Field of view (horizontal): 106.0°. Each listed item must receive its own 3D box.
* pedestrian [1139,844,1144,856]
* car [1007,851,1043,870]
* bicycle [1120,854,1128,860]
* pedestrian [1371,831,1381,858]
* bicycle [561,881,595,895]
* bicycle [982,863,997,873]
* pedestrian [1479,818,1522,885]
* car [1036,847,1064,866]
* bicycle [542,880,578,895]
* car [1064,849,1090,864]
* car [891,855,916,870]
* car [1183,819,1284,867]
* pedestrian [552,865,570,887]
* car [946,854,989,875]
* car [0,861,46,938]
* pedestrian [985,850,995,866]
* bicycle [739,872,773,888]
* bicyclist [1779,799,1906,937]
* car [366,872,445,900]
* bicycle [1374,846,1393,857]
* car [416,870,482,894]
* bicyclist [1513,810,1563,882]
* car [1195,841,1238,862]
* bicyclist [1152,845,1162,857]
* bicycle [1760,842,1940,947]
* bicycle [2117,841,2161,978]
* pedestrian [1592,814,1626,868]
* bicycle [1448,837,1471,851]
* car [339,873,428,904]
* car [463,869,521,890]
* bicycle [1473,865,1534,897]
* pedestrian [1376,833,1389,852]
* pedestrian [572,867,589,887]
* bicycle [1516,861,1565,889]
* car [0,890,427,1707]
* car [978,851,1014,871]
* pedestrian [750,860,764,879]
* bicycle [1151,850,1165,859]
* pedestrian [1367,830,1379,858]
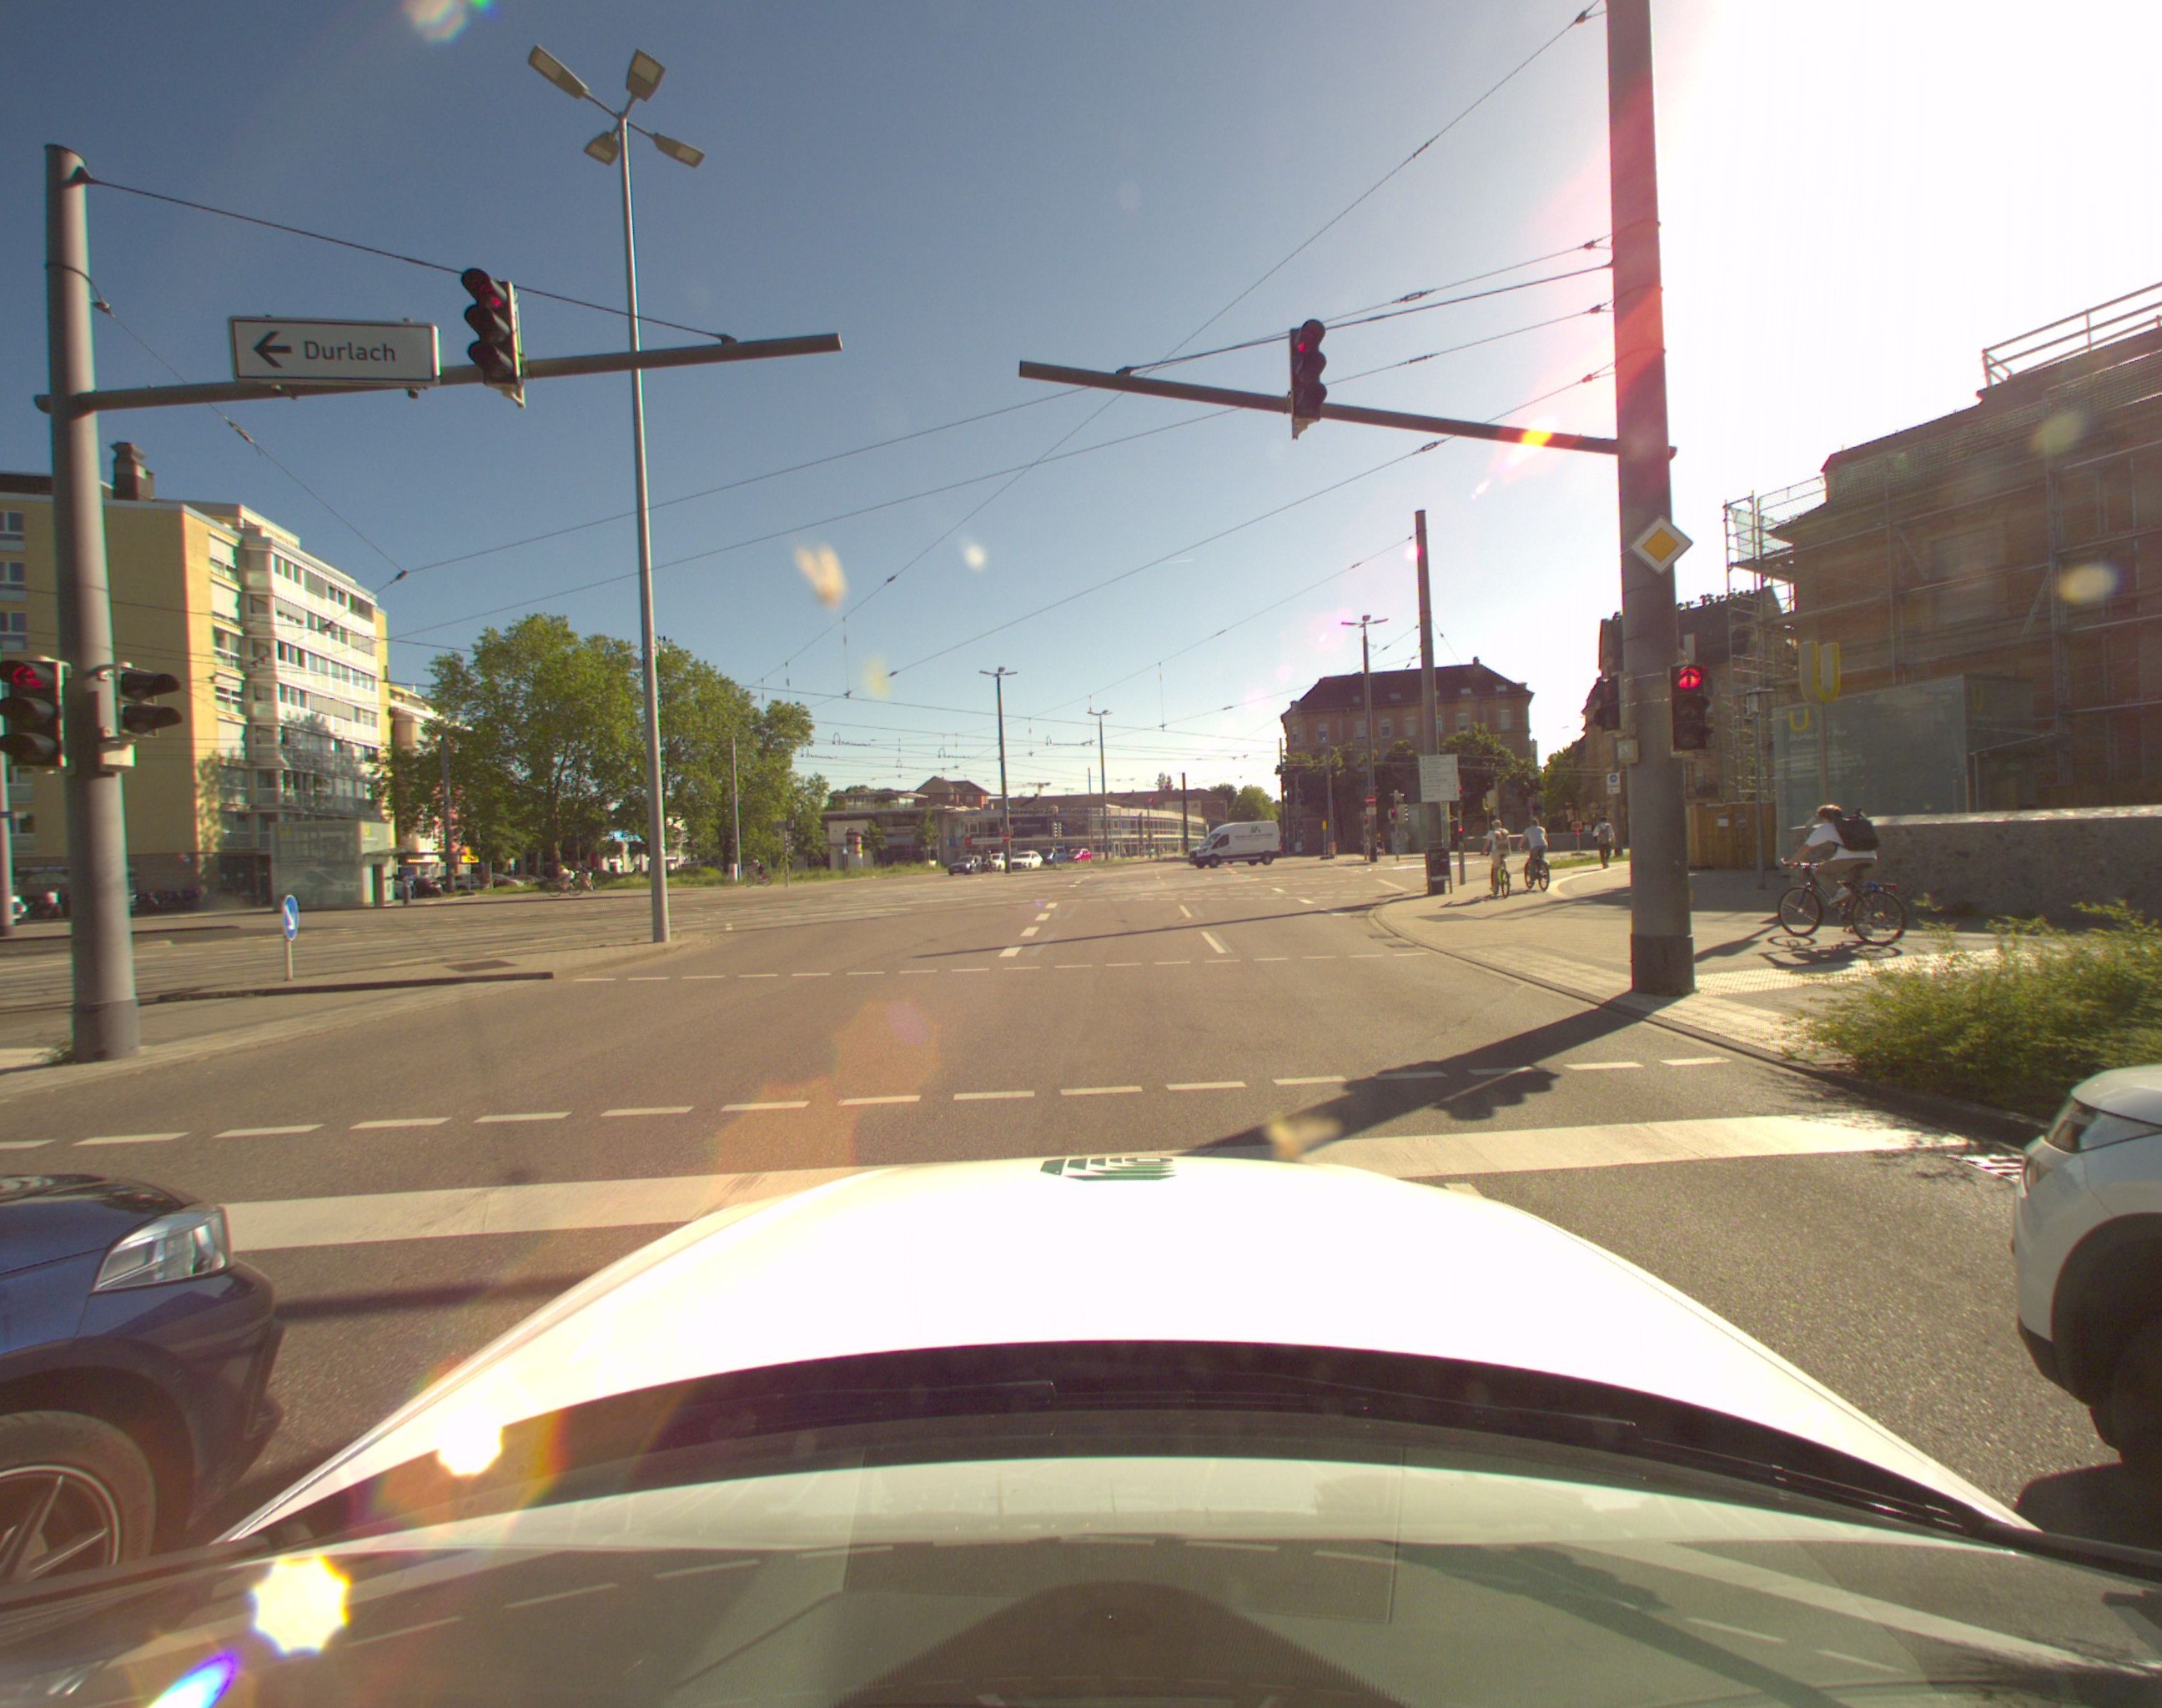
[{"bbox_3d":[8.791,-0.526,118.028,0.537,1.688,0.634,-2,0,27],"label":"pedestrian"},{"bbox_3d":[-4.469,0.518,65.231,1.613,1.382,3.754,-2,0,17],"label":"car"},{"bbox_3d":[5.579,0.403,104.730,0.418,0.718,1.484,-2,0,28],"label":"bicycle"},{"bbox_3d":[21.865,-0.718,60.338,0.461,2.013,0.449,-3,0,-16],"label":"pedestrian"},{"bbox_3d":[-29.500,2.014,47.776,1.634,0.718,0.421,-2,0,-18],"label":"bicycle"},{"bbox_3d":[-6.838,1.029,60.724,0.419,0.718,1.642,-2,0,19],"label":"bicycle"},{"bbox_3d":[10.142,-0.069,19.694,0.547,1.562,0.858,-2,0,-1],"label":"pedestrian"},{"bbox_3d":[-2.989,0.243,79.224,1.613,1.692,3.702,-2,0,17],"label":"car"},{"bbox_3d":[-29.541,1.920,46.218,1.635,0.758,0.421,-2,0,-21],"label":"bicycle"},{"bbox_3d":[-0.437,0.250,86.294,1.613,1.364,3.703,-2,0,18],"label":"car"},{"bbox_3d":[-21.867,1.080,100.601,1.958,1.706,4.085,-2,0,2],"label":"car"},{"bbox_3d":[9.557,-0.719,51.058,5.923,2.744,2.130,-2,0,-19],"label":"car"},{"bbox_3d":[-29.535,1.256,46.231,0.750,1.204,0.421,-2,0,-21],"label":"pedestrian"},{"bbox_3d":[-8.495,0.774,61.250,1.689,1.354,3.719,-2,0,19],"label":"car"},{"bbox_3d":[-38.087,1.598,26.359,5.415,2.508,1.988,-2,0,-17],"label":"car"},{"bbox_3d":[-6.827,0.284,60.852,0.419,1.204,0.753,-2,0,19],"label":"pedestrian"},{"bbox_3d":[-21.001,1.657,52.647,2.013,0.913,0.558,-2,0,-23],"label":"bicycle"},{"bbox_3d":[9.293,0.164,9.980,0.569,1.568,0.948,-6,0,5],"label":"bicyclist"},{"bbox_3d":[-45.779,2.120,55.278,3.742,1.662,1.585,-2,0,-18],"label":"car"},{"bbox_3d":[26.237,-0.226,70.624,1.942,0.870,0.736,-2,0,-43],"label":"bicycle"},{"bbox_3d":[-49.867,2.177,64.296,3.742,1.662,1.585,-2,0,-18],"label":"car"},{"bbox_3d":[11.810,-0.213,21.076,0.743,1.778,0.925,-3,0,6],"label":"bicyclist"},{"bbox_3d":[10.501,-0.194,63.517,1.701,1.503,4.244,-2,0,-14],"label":"car"},{"bbox_3d":[10.477,-0.370,112.323,0.802,1.623,0.935,-2,0,39],"label":"bicyclist"},{"bbox_3d":[9.314,0.448,9.967,0.569,1.125,1.743,-6,0,5],"label":"bicycle"},{"bbox_3d":[9.210,0.457,6.057,0.623,1.114,1.850,-2,0,-1],"label":"bicycle"},{"bbox_3d":[18.759,-0.472,28.938,0.887,1.859,0.933,-2,0,36],"label":"pedestrian"},{"bbox_3d":[33.913,-0.900,72.928,2.018,1.120,0.546,-2,0,-19],"label":"bicycle"},{"bbox_3d":[-42.905,2.082,50.167,3.742,1.662,1.585,-2,0,-18],"label":"car"},{"bbox_3d":[-51.442,2.206,71.219,3.742,1.662,1.585,-2,0,-18],"label":"car"},{"bbox_3d":[10.209,0.644,19.749,0.535,0.655,1.725,-5,0,0],"label":"bicycle"},{"bbox_3d":[26.088,-0.982,70.512,0.722,1.632,0.749,-2,0,-42],"label":"pedestrian"},{"bbox_3d":[-29.397,1.351,47.818,0.749,1.127,0.421,-2,0,-18],"label":"pedestrian"},{"bbox_3d":[11.800,0.532,20.963,0.534,0.655,1.470,-3,0,6],"label":"bicycle"},{"bbox_3d":[-2.661,0.829,0.148,1.704,1.445,4.034,-1,0,2],"label":"car"},{"bbox_3d":[-6.975,0.559,67.174,1.613,1.424,3.702,-2,0,17],"label":"car"},{"bbox_3d":[-20.981,1.018,52.666,0.797,1.204,0.556,-2,0,-23],"label":"pedestrian"},{"bbox_3d":[10.665,0.056,112.518,0.802,1.045,2.141,-2,0,39],"label":"bicycle"},{"bbox_3d":[21.430,-0.713,59.723,0.574,2.013,0.449,-3,0,-16],"label":"pedestrian"}]
